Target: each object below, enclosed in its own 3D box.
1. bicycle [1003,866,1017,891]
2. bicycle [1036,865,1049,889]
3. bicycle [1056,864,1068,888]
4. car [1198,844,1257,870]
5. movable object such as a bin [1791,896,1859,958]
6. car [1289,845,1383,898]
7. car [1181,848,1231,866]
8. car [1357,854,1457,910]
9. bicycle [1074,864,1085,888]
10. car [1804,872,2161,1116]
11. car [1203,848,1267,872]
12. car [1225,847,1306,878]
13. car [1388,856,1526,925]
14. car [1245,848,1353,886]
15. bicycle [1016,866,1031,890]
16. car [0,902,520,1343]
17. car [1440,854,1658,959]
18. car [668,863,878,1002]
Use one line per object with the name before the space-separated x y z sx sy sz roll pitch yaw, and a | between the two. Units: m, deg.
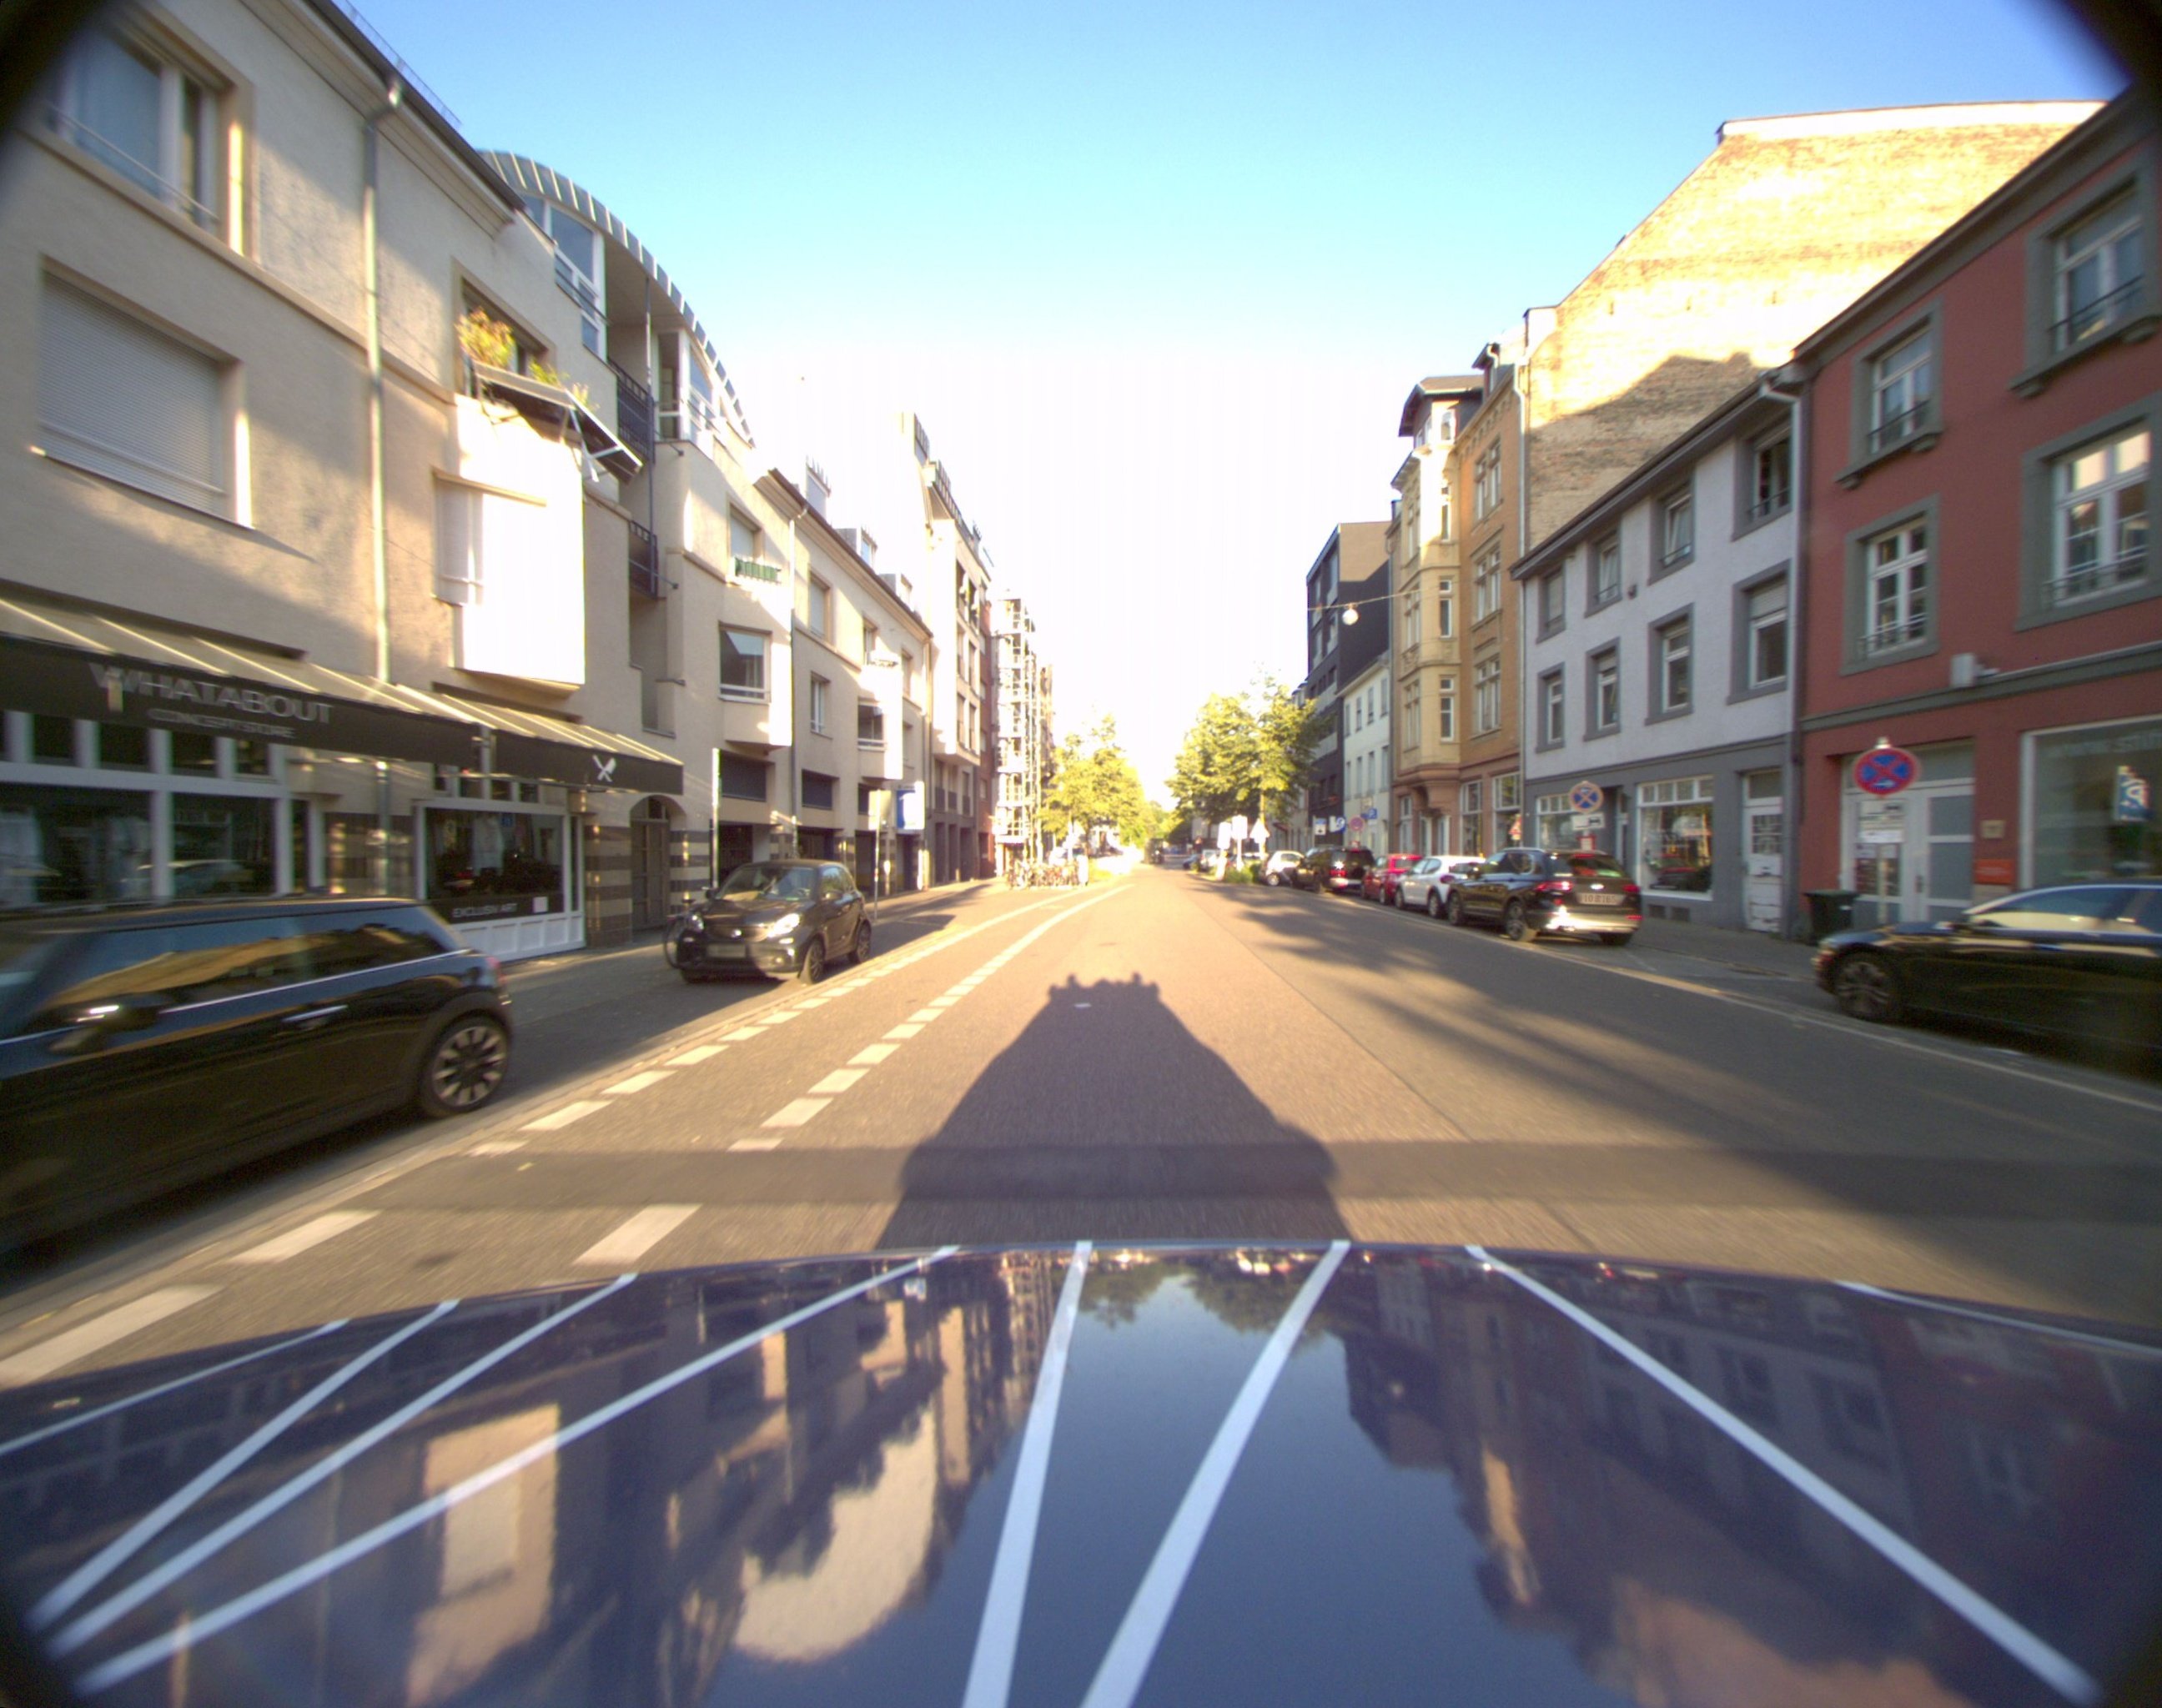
bicycle | -3.013 1.023 32.432 0.470 0.952 1.918 0 1 -2
bicycle | -1.626 0.970 32.552 0.469 0.952 1.918 0 1 0
bicycle | -0.816 0.940 32.654 0.469 0.952 1.918 0 1 0
car | 11.443 0.211 59.462 4.191 1.972 2.056 1 1 0
movable object such as a bin | 11.765 1.149 12.026 0.491 0.911 0.583 -1 1 1
car | 9.135 0.559 27.642 2.054 1.742 4.217 1 1 1
car | 11.757 0.316 71.589 4.196 1.618 2.053 0 1 -13
car | 9.624 0.773 22.711 1.688 1.455 3.543 1 1 5
bicycle | -0.060 0.911 32.714 0.469 0.952 1.918 0 1 0
car | 8.040 0.969 5.528 1.770 1.502 4.218 1 1 5
car | 10.968 0.423 54.344 4.131 1.667 1.996 1 1 1
car | 9.965 0.430 41.221 3.910 1.572 1.959 1 1 0
car | 9.097 0.803 18.756 1.770 1.455 3.868 1 1 5
car | 9.615 0.567 33.738 4.191 1.572 2.056 1 1 0
bicycle | -2.425 1.000 32.293 0.469 0.952 1.918 0 1 0
car | -4.782 1.069 3.315 1.726 1.413 3.749 1 1 4
car | 8.461 0.828 14.255 1.770 1.604 4.218 1 1 5
car | -4.012 0.941 10.353 1.571 1.540 2.804 1 1 4
